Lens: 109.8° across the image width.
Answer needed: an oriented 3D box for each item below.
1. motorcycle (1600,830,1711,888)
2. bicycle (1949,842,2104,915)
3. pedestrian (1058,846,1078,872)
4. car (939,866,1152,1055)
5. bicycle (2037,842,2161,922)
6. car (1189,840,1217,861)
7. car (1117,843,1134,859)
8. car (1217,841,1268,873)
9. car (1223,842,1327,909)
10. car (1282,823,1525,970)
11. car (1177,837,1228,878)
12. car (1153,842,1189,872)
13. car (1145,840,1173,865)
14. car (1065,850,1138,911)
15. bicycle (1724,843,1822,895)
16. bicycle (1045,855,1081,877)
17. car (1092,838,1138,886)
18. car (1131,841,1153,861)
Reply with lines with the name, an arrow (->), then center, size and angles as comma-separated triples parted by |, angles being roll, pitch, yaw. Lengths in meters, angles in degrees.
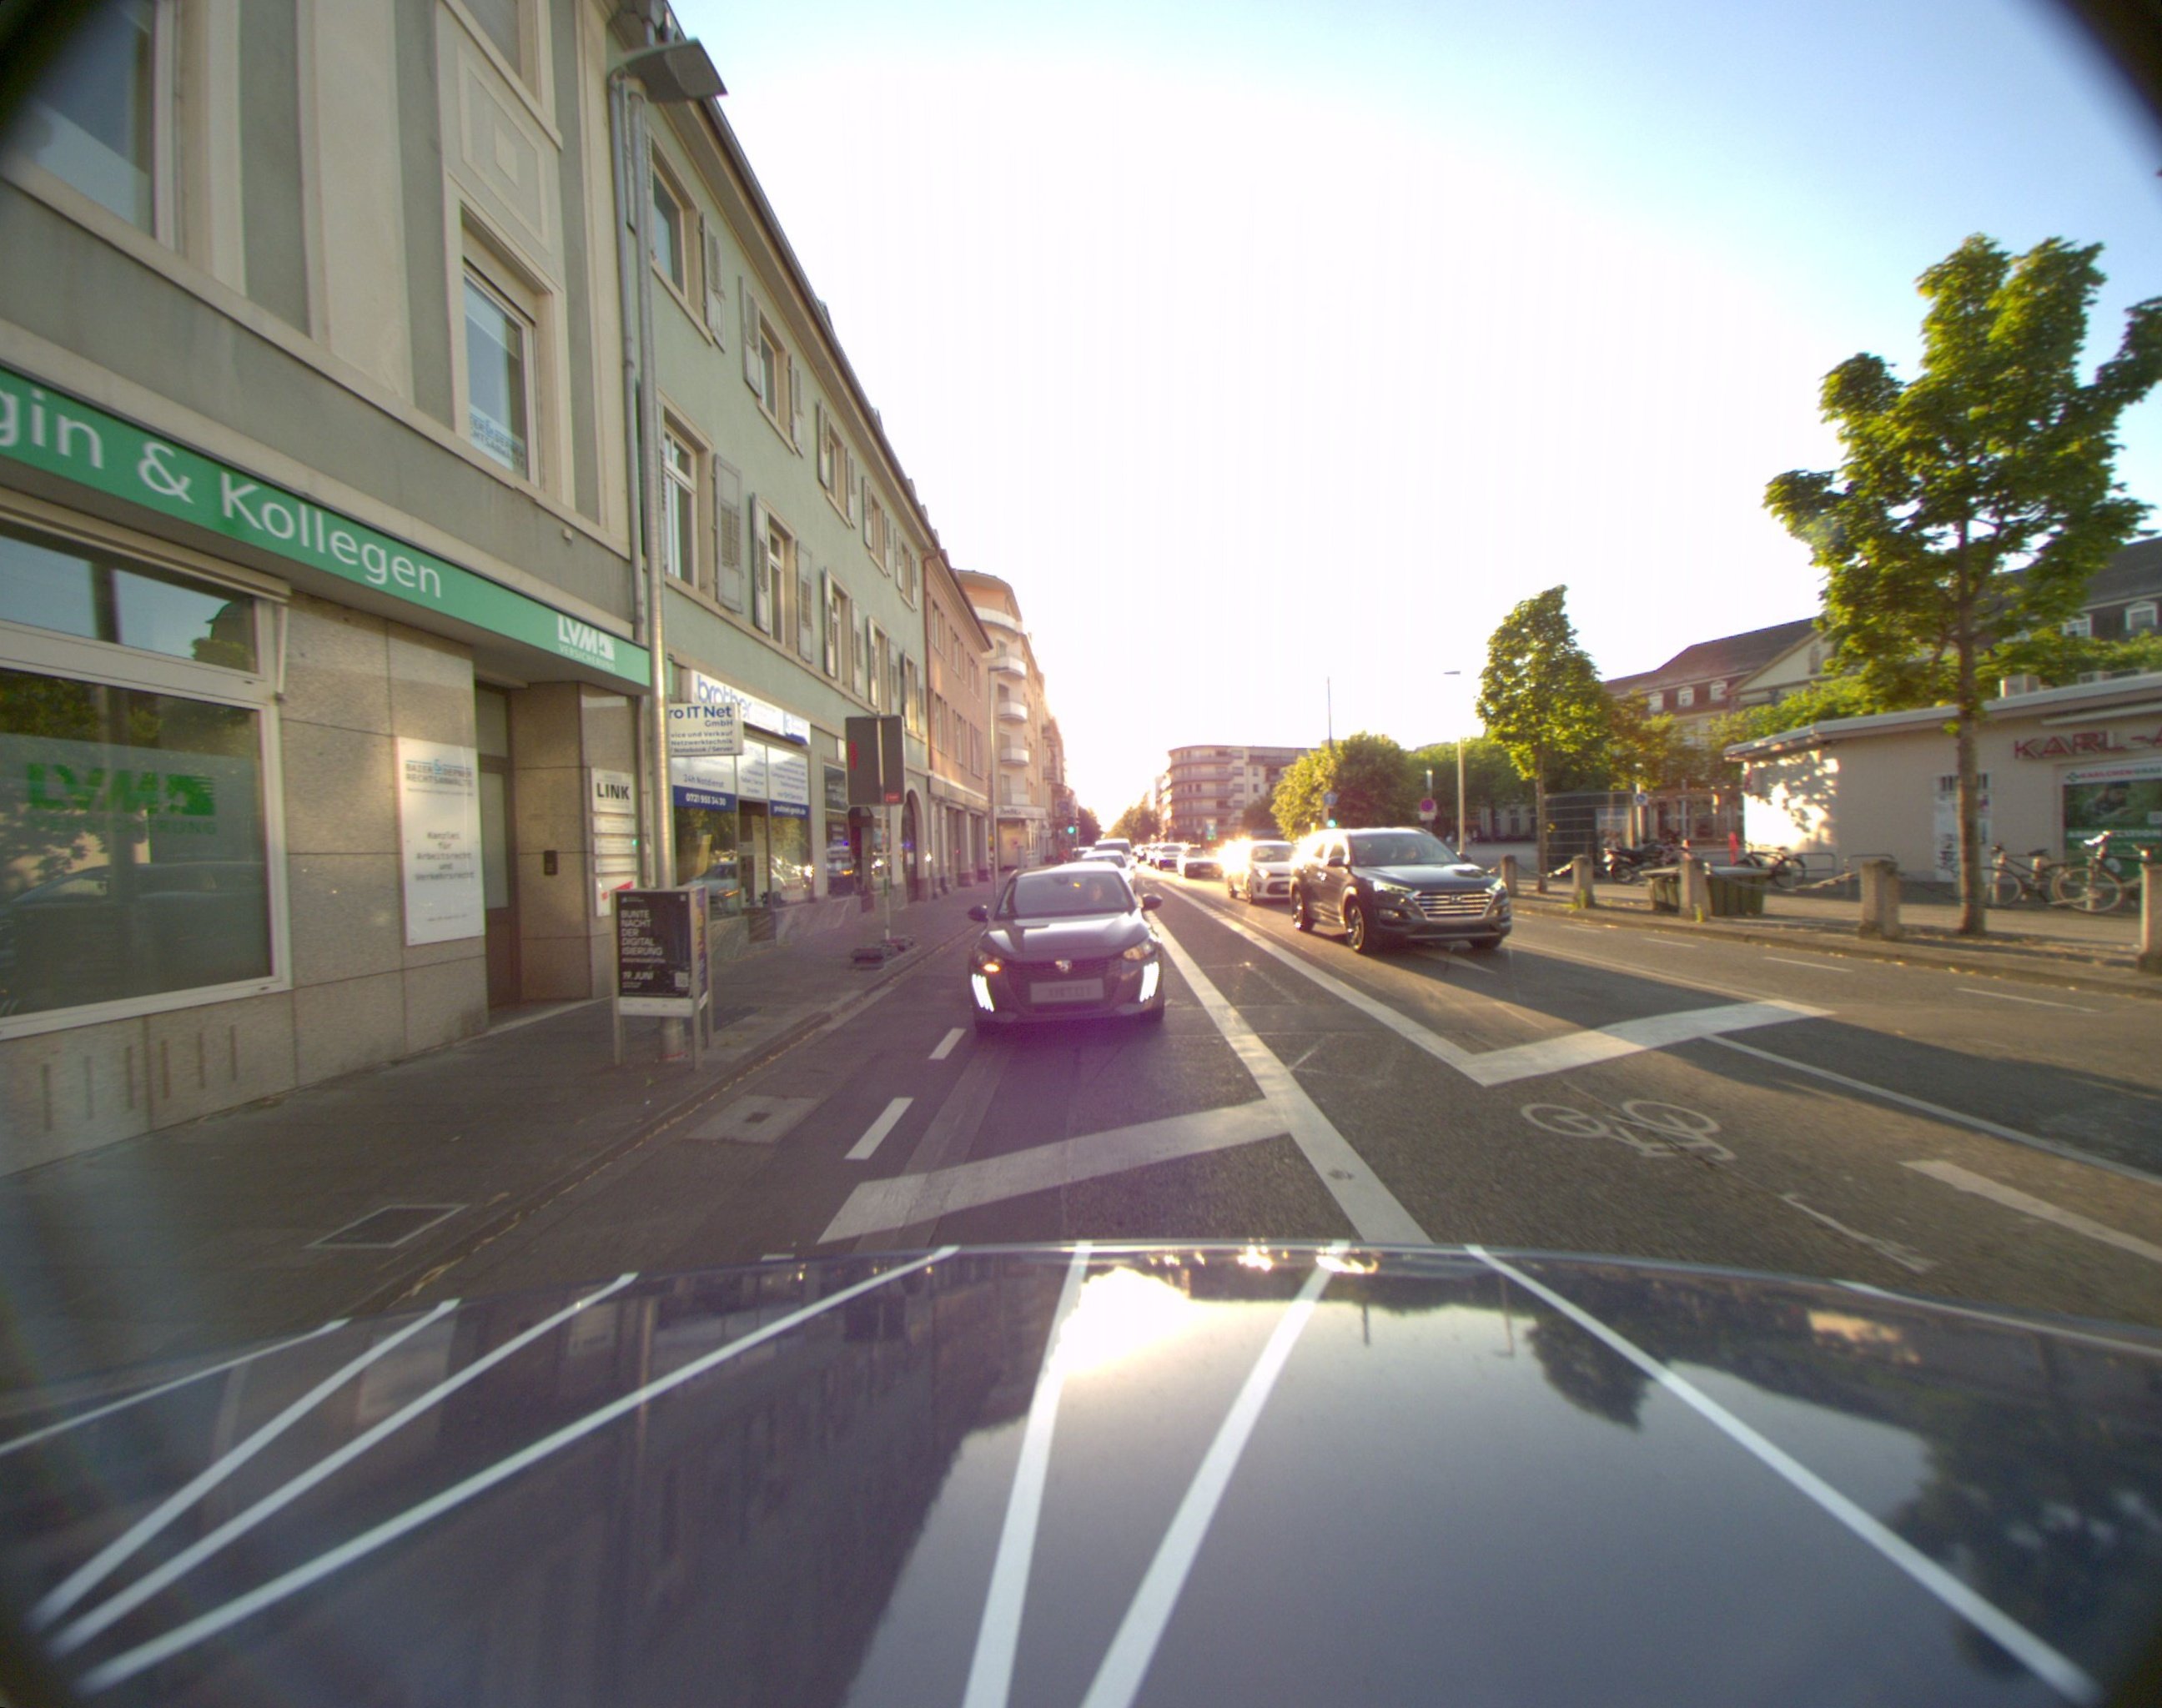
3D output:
motorcycle -> 15.275, 0.130, 20.235 | 2.398, 1.438, 0.700 | -2, 1, 1
bicycle -> 15.214, 0.383, 12.247 | 1.870, 1.108, 0.449 | -1, 2, 2
pedestrian -> -0.661, 0.257, 39.021 | 0.858, 1.343, 0.563 | -2, 1, 12
car -> -0.153, 0.941, 8.374 | 1.750, 1.434, 3.907 | -2, 1, 5
bicycle -> 15.305, 0.394, 11.166 | 1.870, 1.108, 0.449 | -1, 2, 2
car -> 10.223, -0.274, 63.992 | 1.827, 1.688, 3.985 | 1, 1, 2
car -> 5.263, -0.408, 89.496 | 1.880, 1.761, 4.000 | -2, 1, 2
car -> 8.507, 0.132, 40.417 | 1.880, 1.594, 4.000 | -2, 1, 1
car -> 4.761, 0.465, 19.216 | 1.718, 1.463, 3.985 | -2, 1, 2
car -> 4.379, 0.487, 11.118 | 1.827, 1.688, 4.259 | -2, 1, 2
car -> 5.439, 0.128, 34.432 | 1.827, 1.731, 3.985 | 0, 1, 2
car -> 5.338, 0.141, 45.359 | 1.827, 1.731, 3.985 | 0, 1, 2
car -> 5.724, -0.137, 56.095 | 1.879, 1.761, 4.000 | -2, 1, 4
car -> 0.614, 0.668, 21.695 | 1.827, 1.463, 3.985 | -3, 1, 2
bicycle -> 15.492, 0.338, 17.027 | 1.810, 1.096, 0.396 | -2, 1, 1
bicycle -> -0.934, 0.607, 39.088 | 1.702, 1.051, 0.563 | -2, 1, 12
car -> 1.450, 0.294, 32.473 | 1.827, 1.918, 3.985 | 0, 1, 2
car -> 5.579, -0.272, 69.739 | 1.879, 1.761, 4.000 | -2, 1, 4
